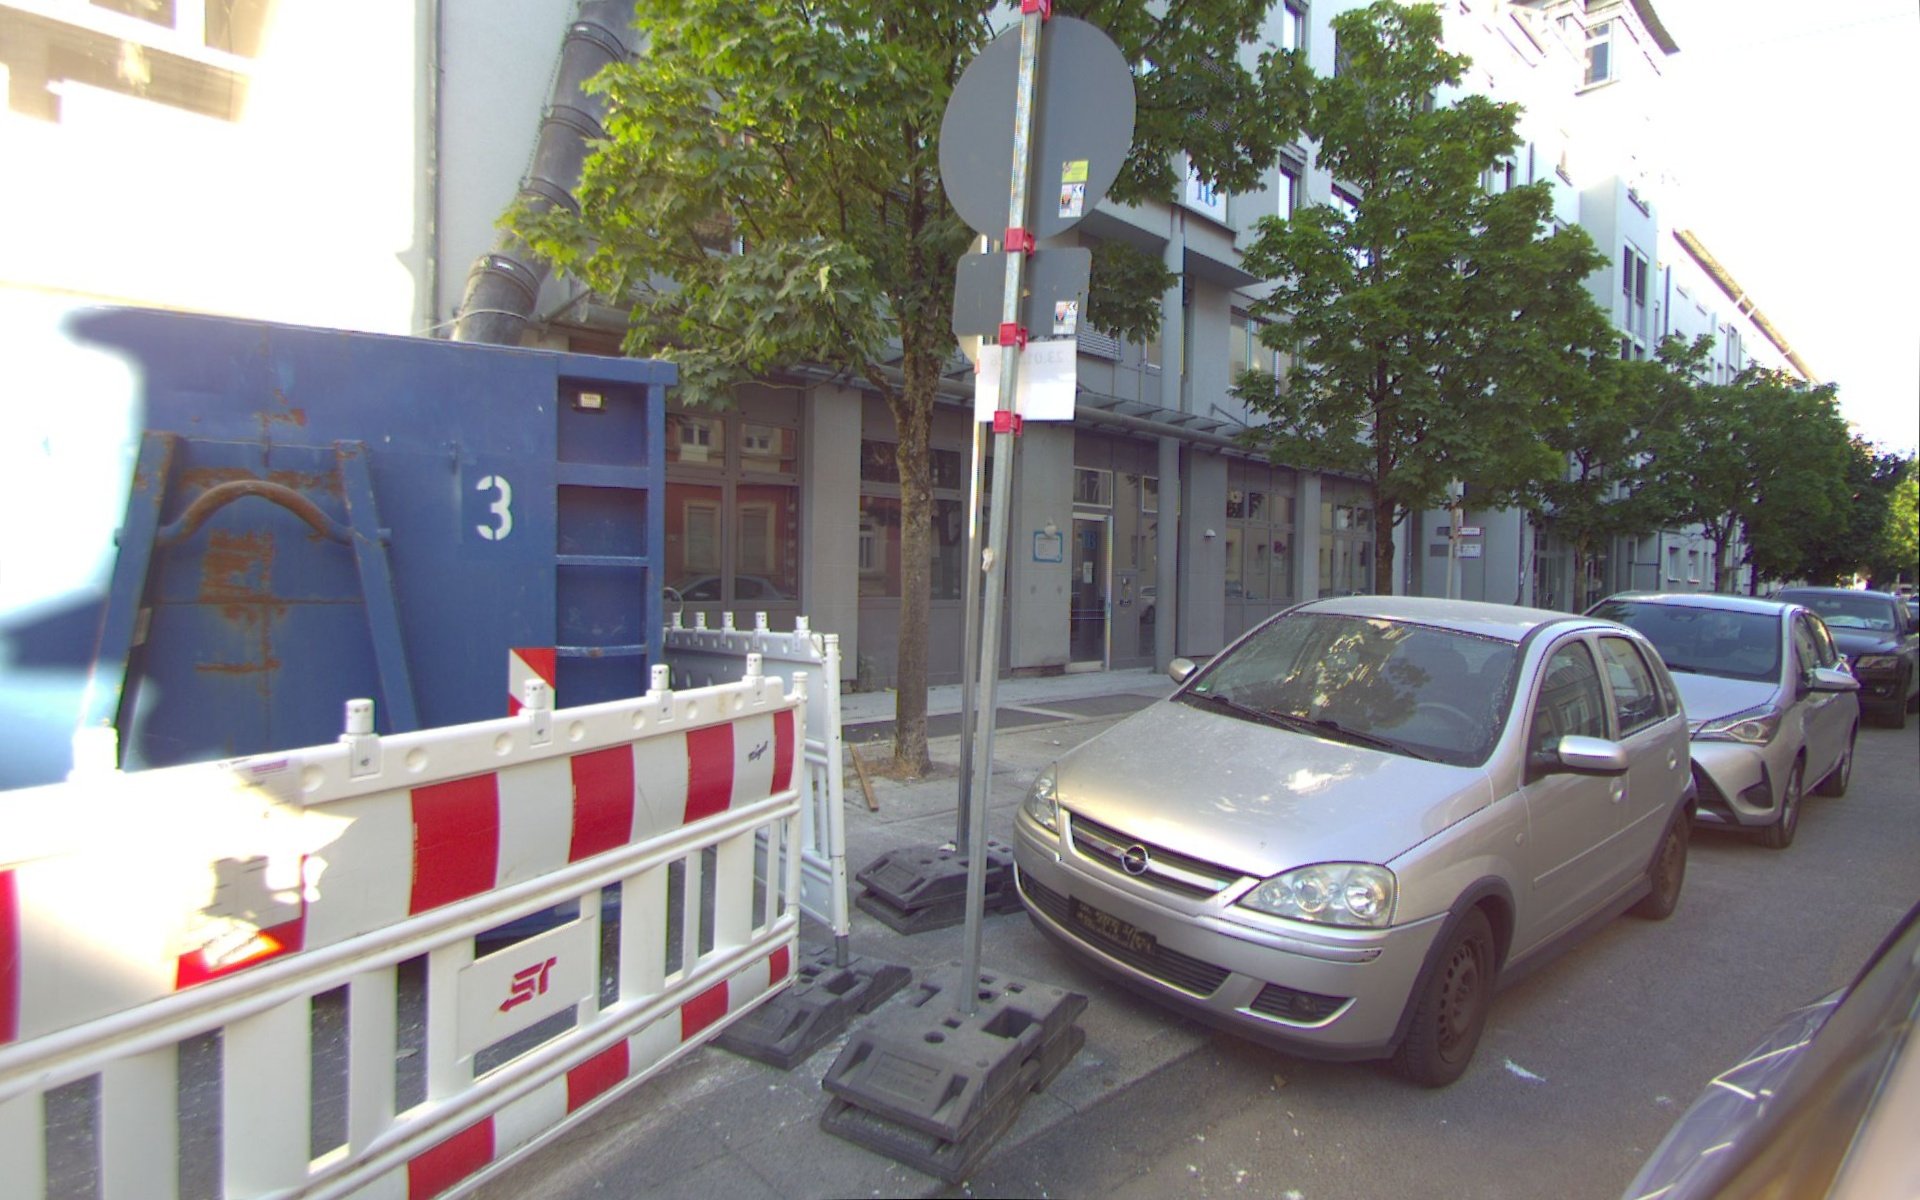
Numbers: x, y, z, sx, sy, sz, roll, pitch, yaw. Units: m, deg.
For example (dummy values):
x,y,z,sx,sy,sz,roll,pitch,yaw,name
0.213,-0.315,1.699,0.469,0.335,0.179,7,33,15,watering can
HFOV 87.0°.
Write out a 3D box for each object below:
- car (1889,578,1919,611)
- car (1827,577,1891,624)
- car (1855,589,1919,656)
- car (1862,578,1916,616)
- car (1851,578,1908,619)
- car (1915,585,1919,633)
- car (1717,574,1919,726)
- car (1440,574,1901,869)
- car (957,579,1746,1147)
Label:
x,y,z,sx,sy,sz,roll,pitch,yaw,name
61.005,-0.343,64.817,3.935,2.039,1.995,0,1,-45,car
41.739,-0.007,46.962,3.935,2.039,1.995,0,1,-45,car
23.246,0.504,24.684,3.935,1.507,1.852,0,1,-45,car
51.772,-0.206,56.376,3.935,2.039,1.995,0,1,-45,car
48.523,-0.109,53.387,3.935,2.039,1.995,0,1,-45,car
35.071,0.310,35.770,1.851,1.680,3.936,1,1,44,car
11.789,0.536,13.540,4.315,1.710,1.861,0,1,-42,car
5.413,0.634,7.534,3.930,1.605,1.911,0,1,-41,car
2.028,0.657,4.555,3.995,1.465,1.637,0,1,-41,car
